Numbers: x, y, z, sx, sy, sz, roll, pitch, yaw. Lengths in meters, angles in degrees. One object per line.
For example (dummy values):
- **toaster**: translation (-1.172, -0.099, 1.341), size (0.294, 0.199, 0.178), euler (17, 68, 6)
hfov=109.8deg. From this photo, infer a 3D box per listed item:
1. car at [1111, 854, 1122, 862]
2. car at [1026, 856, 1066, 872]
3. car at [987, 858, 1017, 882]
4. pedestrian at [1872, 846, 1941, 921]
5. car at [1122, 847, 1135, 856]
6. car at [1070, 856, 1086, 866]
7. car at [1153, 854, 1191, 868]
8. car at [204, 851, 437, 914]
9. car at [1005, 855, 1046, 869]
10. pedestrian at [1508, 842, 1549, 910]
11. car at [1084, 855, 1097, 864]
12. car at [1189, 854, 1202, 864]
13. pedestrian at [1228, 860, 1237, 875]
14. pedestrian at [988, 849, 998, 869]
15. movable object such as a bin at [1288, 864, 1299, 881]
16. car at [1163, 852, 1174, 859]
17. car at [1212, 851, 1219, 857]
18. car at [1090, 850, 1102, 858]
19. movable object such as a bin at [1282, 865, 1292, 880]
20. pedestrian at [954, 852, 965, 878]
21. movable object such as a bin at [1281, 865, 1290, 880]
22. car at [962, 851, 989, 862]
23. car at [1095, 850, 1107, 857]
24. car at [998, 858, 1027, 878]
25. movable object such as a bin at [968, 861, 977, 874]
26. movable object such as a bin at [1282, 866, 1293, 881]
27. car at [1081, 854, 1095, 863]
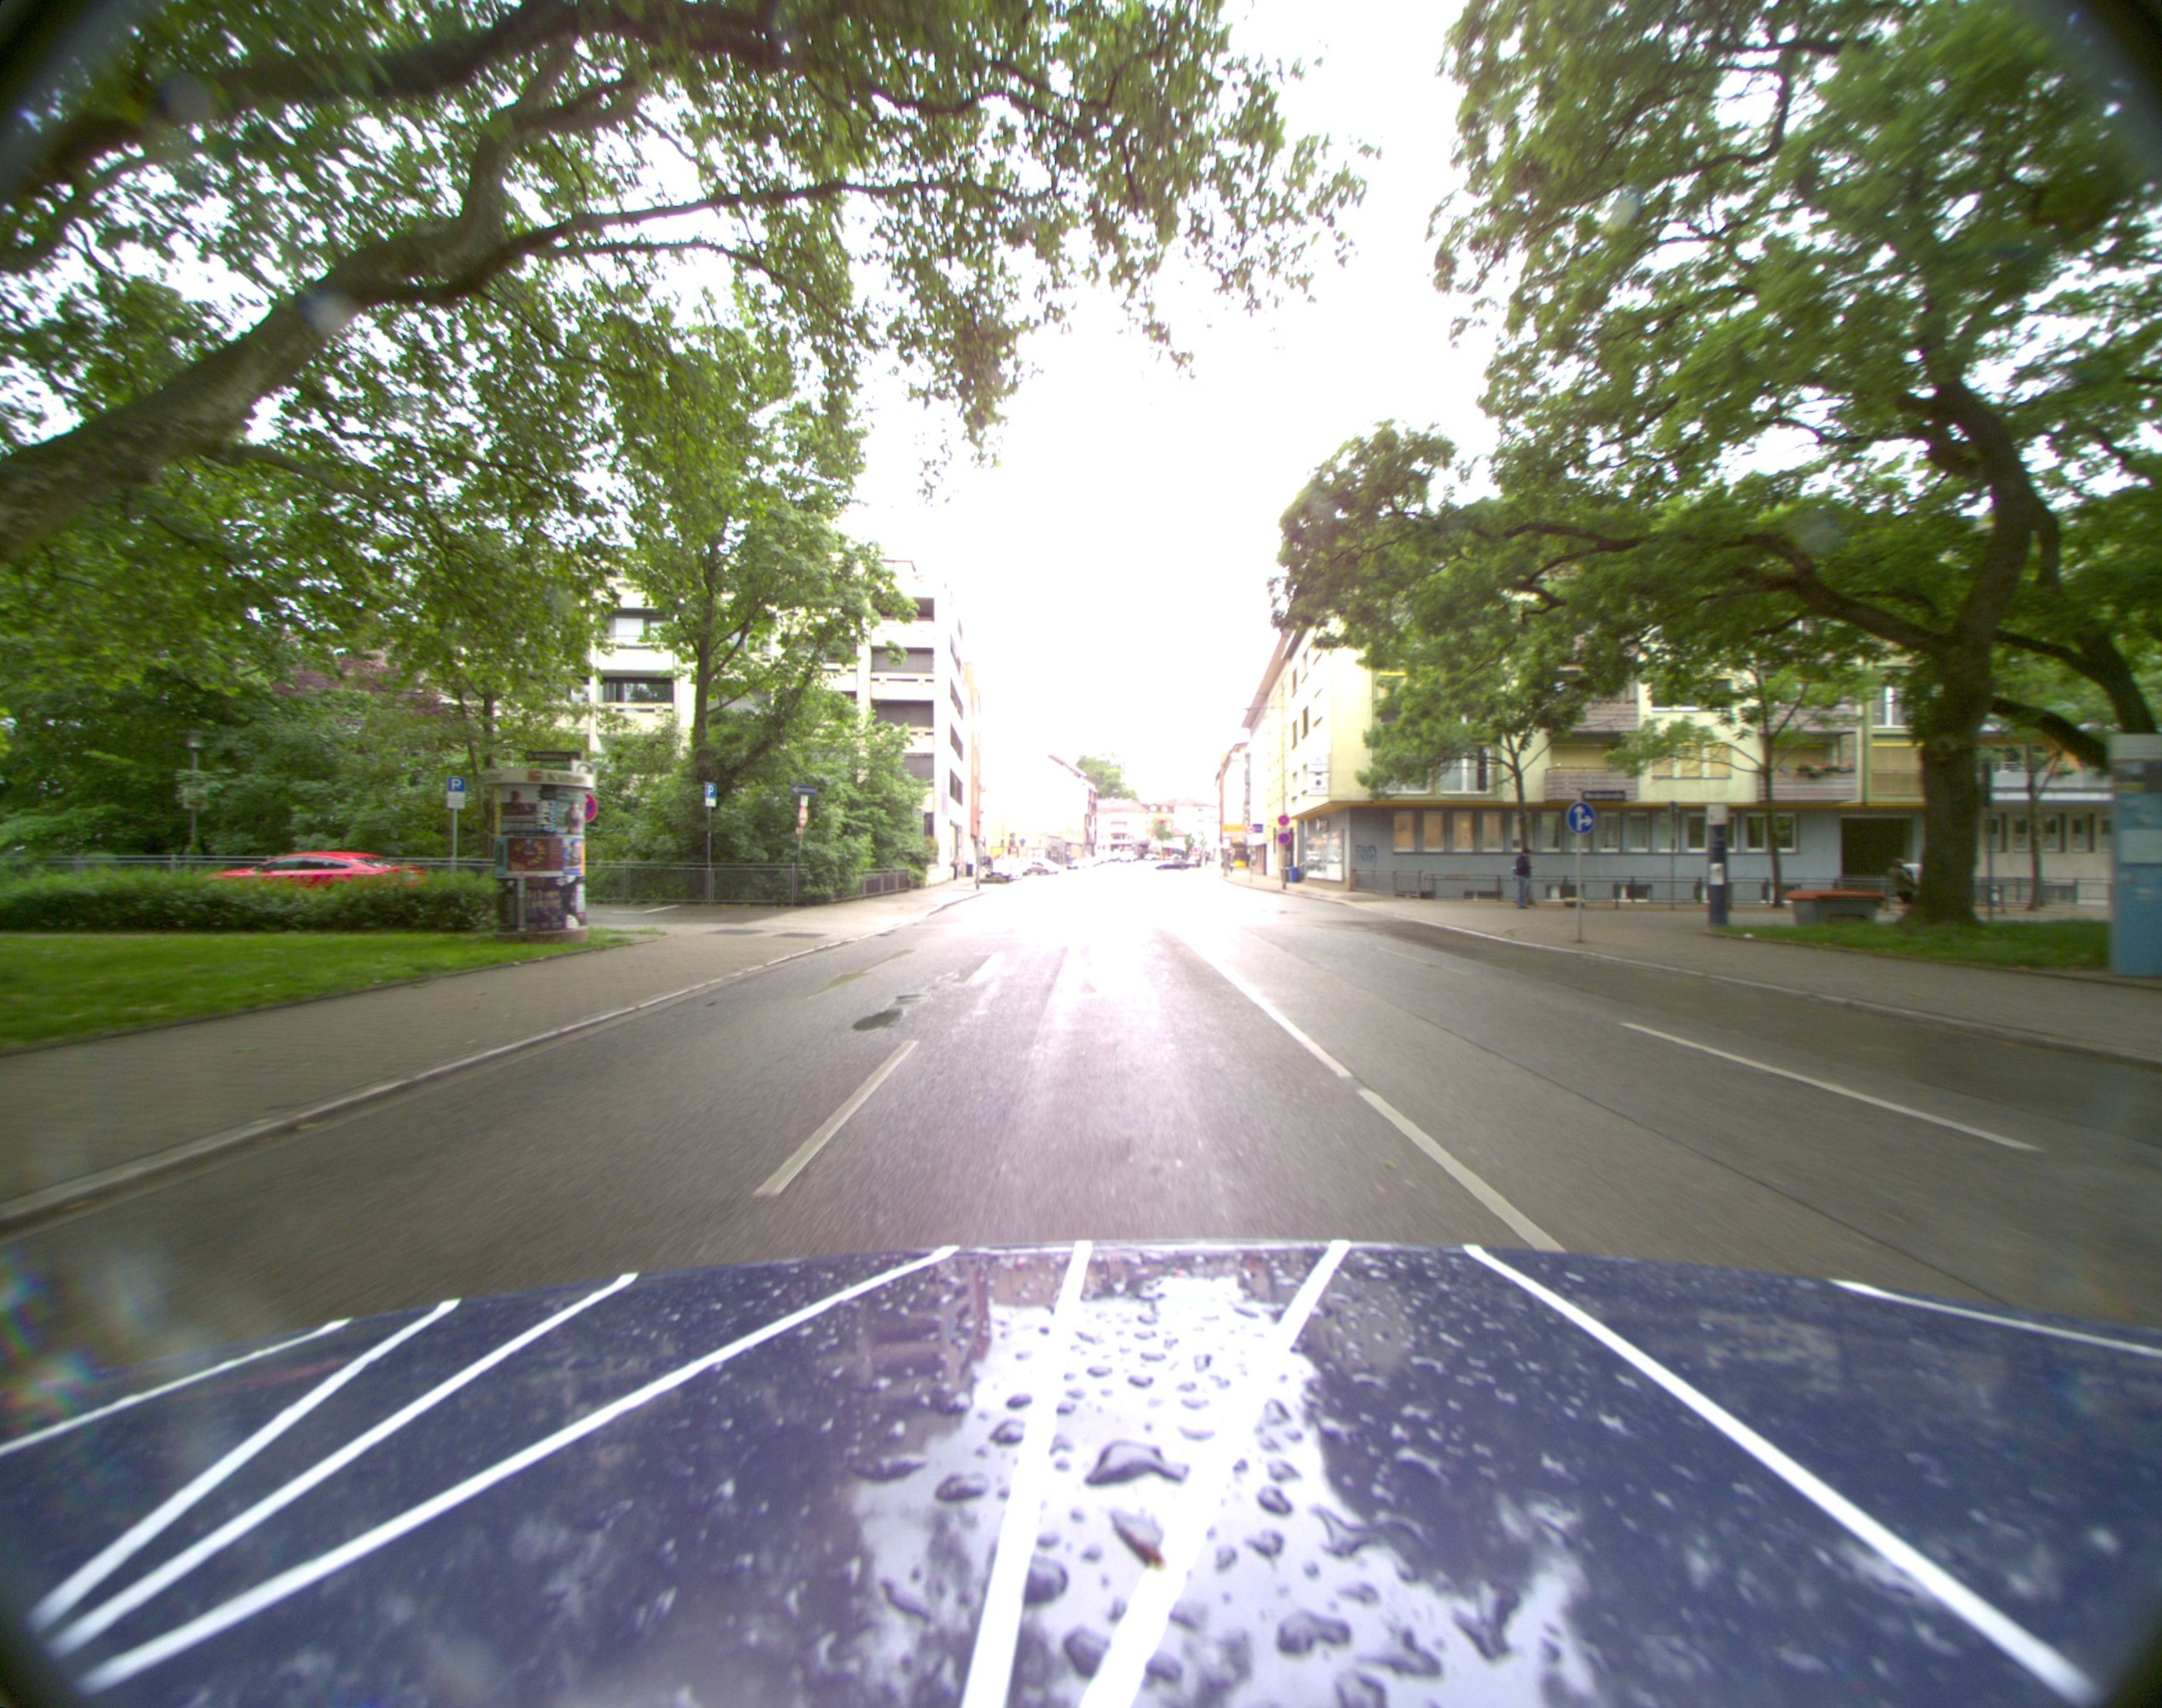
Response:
- **car**: translation (7.323, 0.818, 154.826), size (1.670, 1.761, 4.004), euler (1, 0, 11)
- **car**: translation (-3.729, 1.089, 80.526), size (3.989, 1.559, 1.761), euler (-2, 0, 34)
- **car**: translation (-5.332, 1.055, 51.558), size (1.706, 1.549, 3.804), euler (1, 0, -1)
- **pedestrian**: translation (21.689, 0.760, 19.981), size (0.918, 1.913, 0.820), euler (0, 1, 6)
- **car**: translation (9.301, -0.453, 148.885), size (2.016, 1.754, 4.766), euler (1, 0, 9)
- **car**: translation (-0.404, 0.979, 111.375), size (1.736, 1.389, 3.744), euler (0, 0, 8)
- **car**: translation (11.281, 0.895, 94.029), size (4.560, 1.559, 1.758), euler (-2, 0, 4)
- **car**: translation (-19.608, 0.714, 19.763), size (3.999, 1.473, 1.875), euler (1, 1, -5)
- **car**: translation (-6.647, 0.957, 91.572), size (4.687, 1.559, 1.758), euler (-2, 0, 2)
- **pedestrian**: translation (13.385, 0.642, 22.740), size (0.754, 2.002, 0.780), euler (0, 1, -31)
- **car**: translation (1.589, 0.866, 124.129), size (1.736, 1.389, 3.744), euler (0, 0, 8)
- **car**: translation (17.970, 0.754, 119.358), size (1.834, 1.612, 4.003), euler (0, 0, 10)
- **pedestrian**: translation (15.720, 1.379, 78.922), size (0.785, 1.578, 0.674), euler (-2, 0, 21)
- **pedestrian**: translation (-9.406, 0.569, 81.161), size (0.806, 2.140, 0.737), euler (0, 1, -23)
- **movable object such as a bin**: translation (12.927, 1.116, 46.326), size (0.529, 0.955, 0.435), euler (-4, 0, 8)
- **car**: translation (21.283, 0.375, 184.366), size (1.748, 1.754, 4.059), euler (1, 0, 19)
- **car**: translation (33.798, -0.010, 191.175), size (1.591, 1.518, 3.492), euler (0, 0, 14)
- **car**: translation (2.673, -0.022, 132.716), size (1.736, 1.389, 3.743), euler (0, 0, 7)
- **movable object such as a bin**: translation (12.834, 1.163, 47.373), size (0.529, 0.922, 0.426), euler (-4, 0, 8)
- **pedestrian**: translation (-8.034, 0.716, 50.324), size (0.599, 1.650, 0.691), euler (3, 0, -7)
- **movable object such as a bin**: translation (12.886, 1.176, 47.865), size (0.465, 0.922, 0.428), euler (-4, 0, 8)
- **car**: translation (-16.486, 0.356, 119.155), size (3.783, 1.701, 1.842), euler (0, 0, 20)
- **car**: translation (3.693, -0.078, 138.713), size (1.736, 1.389, 3.744), euler (0, 0, 9)
- **car**: translation (-5.218, 1.036, 58.331), size (1.835, 1.412, 4.569), euler (1, 0, -1)
- **movable object such as a bin**: translation (-8.654, 1.076, 60.694), size (0.681, 1.097, 0.514), euler (0, 0, -1)
- **movable object such as a bin**: translation (12.769, 1.180, 46.908), size (0.529, 0.890, 0.435), euler (-4, 0, 8)
- **car**: translation (1.096, 0.648, 119.620), size (1.736, 1.389, 3.744), euler (0, 0, 8)
